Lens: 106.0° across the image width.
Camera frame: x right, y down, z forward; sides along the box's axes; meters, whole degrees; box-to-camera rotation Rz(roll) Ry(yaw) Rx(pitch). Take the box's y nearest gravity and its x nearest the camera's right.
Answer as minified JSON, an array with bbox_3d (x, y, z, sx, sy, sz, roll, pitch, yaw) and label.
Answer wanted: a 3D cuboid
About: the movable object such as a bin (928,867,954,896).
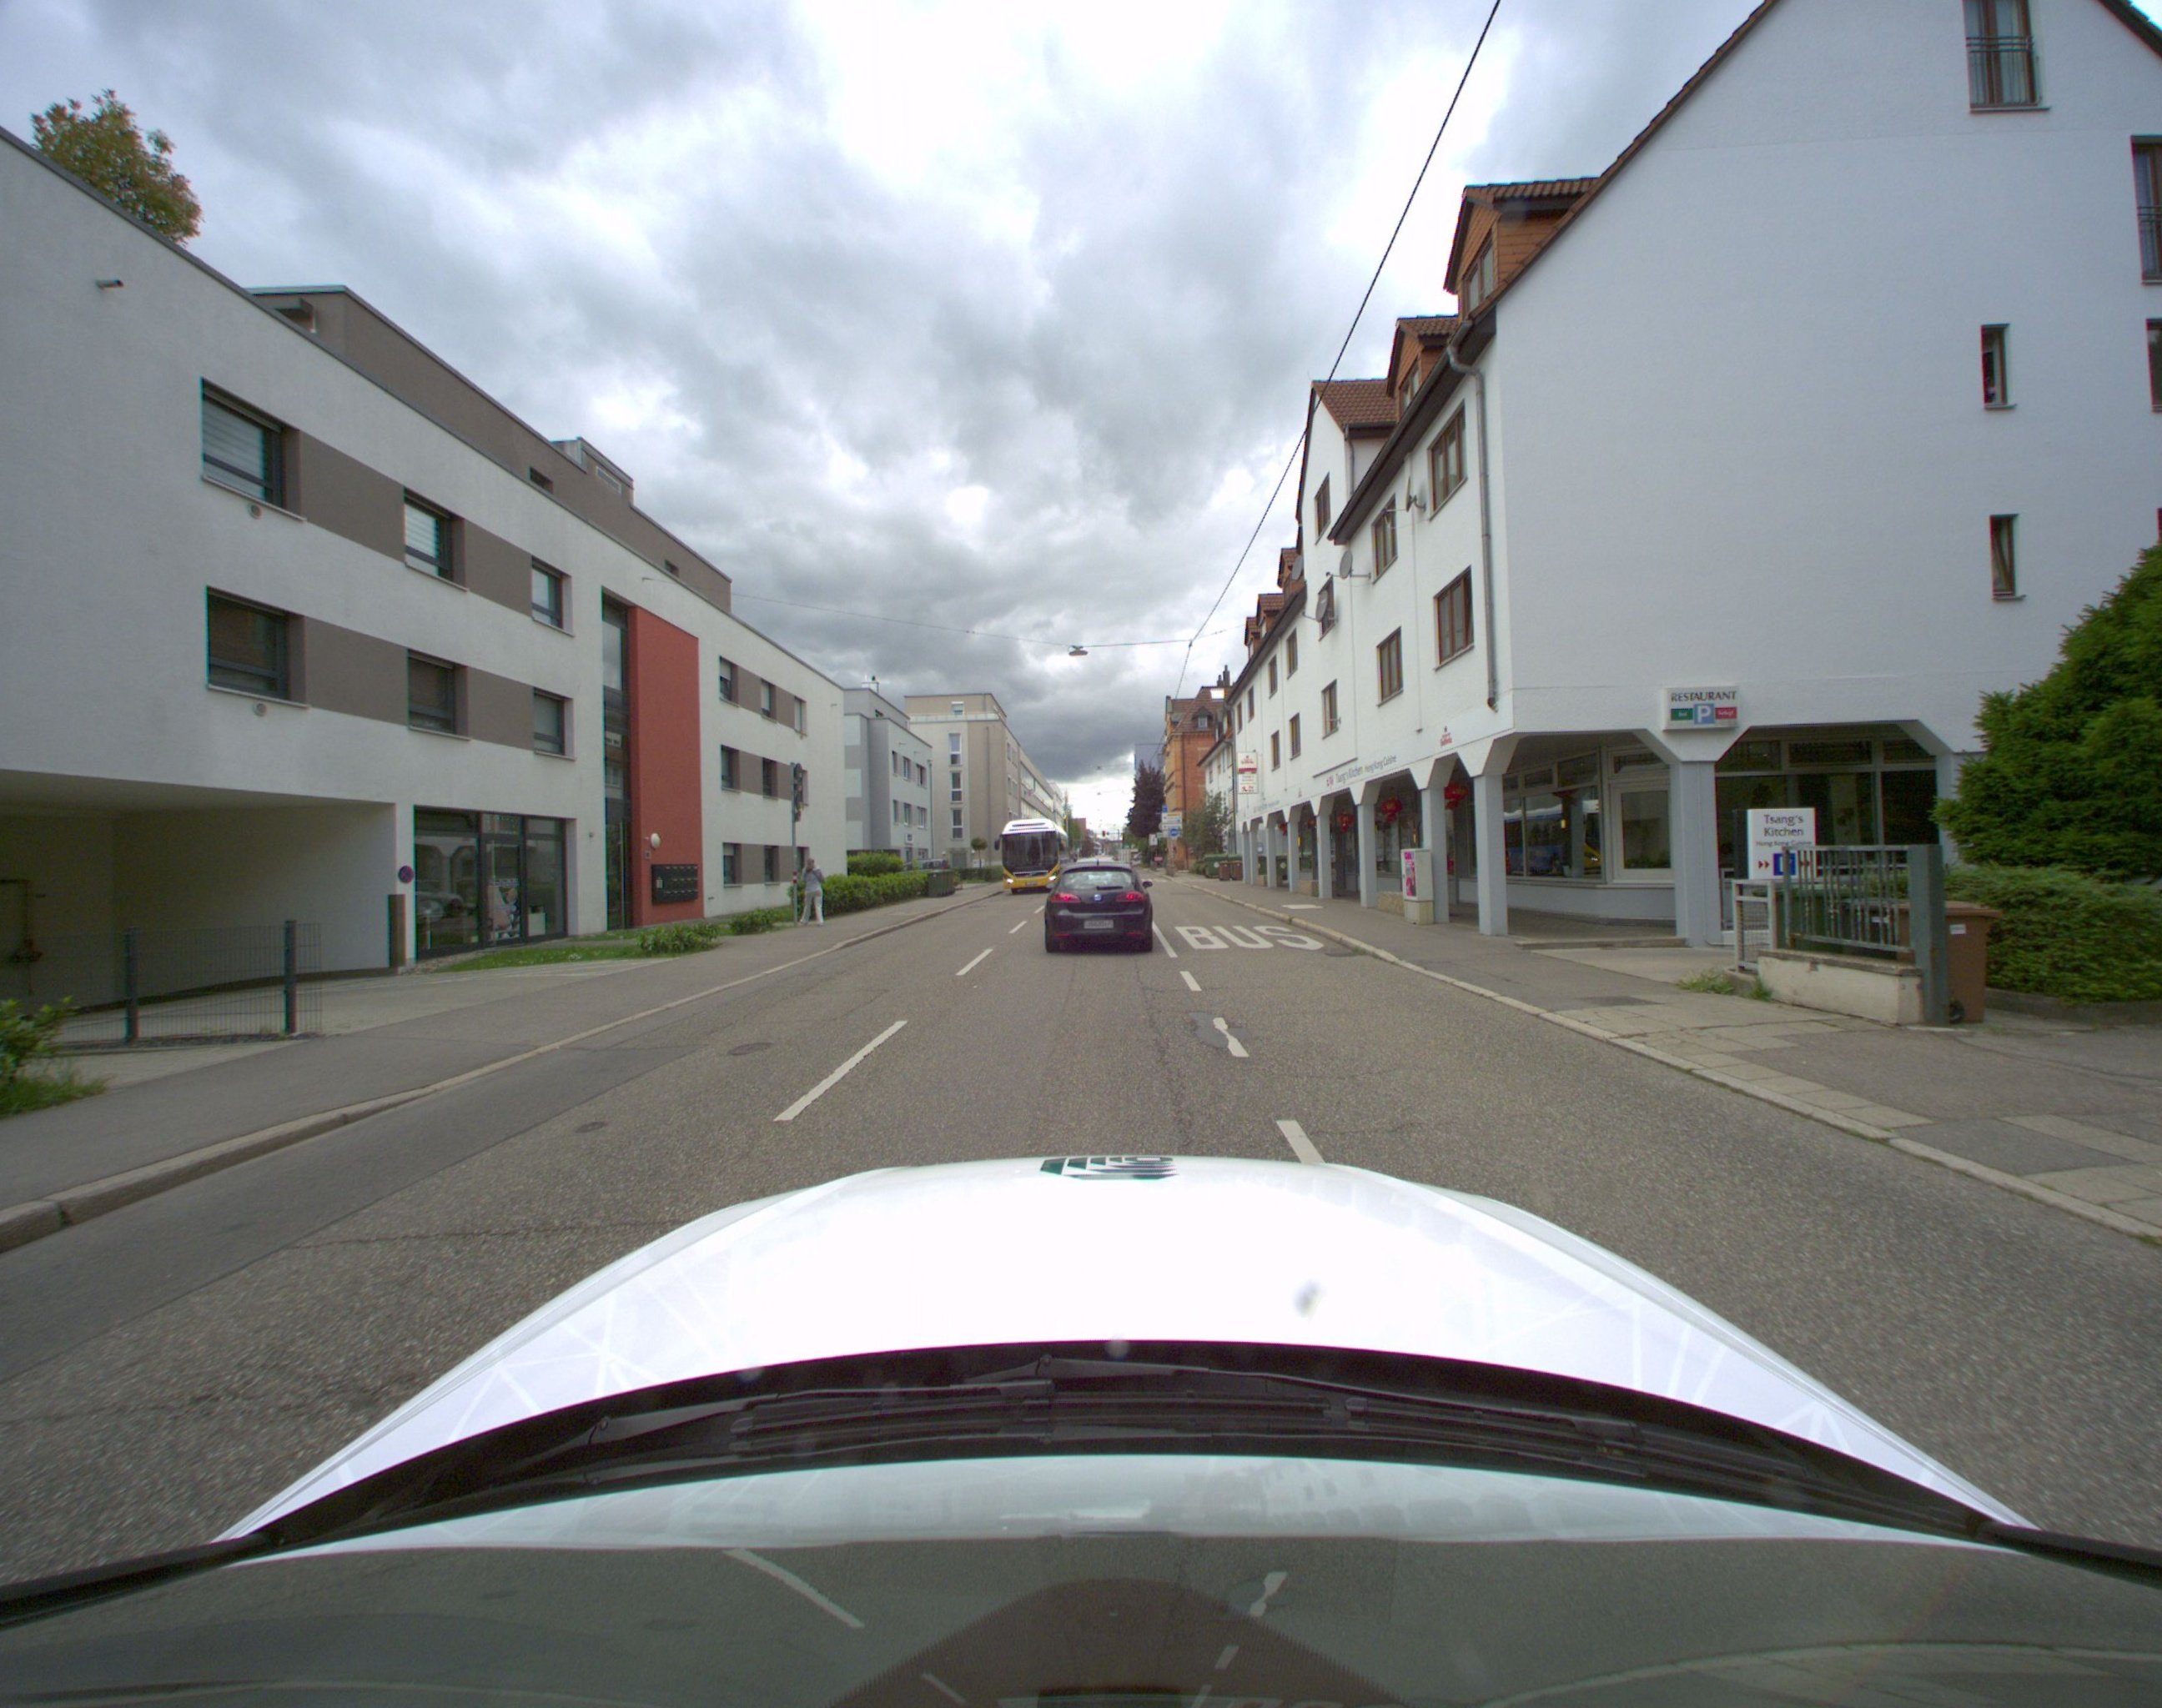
[{"bbox_3d":[-5.901,1.152,34.370,0.946,1.151,0.748,-2,0,-3],"label":"movable object such as a bin"}]

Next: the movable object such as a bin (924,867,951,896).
[{"bbox_3d":[-5.908,1.114,33.529,0.954,1.151,0.839,-2,0,-3],"label":"movable object such as a bin"}]

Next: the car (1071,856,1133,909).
[{"bbox_3d":[0.661,0.852,25.957,1.797,1.492,3.738,-2,0,1],"label":"car"}]

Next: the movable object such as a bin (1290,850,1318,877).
[{"bbox_3d":[12.143,0.529,44.399,1.203,1.417,1.261,-2,0,5],"label":"movable object such as a bin"}]

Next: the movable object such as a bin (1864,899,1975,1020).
[{"bbox_3d":[6.713,0.830,6.534,0.396,0.903,0.456,-2,0,2],"label":"movable object such as a bin"}]

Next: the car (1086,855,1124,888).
[{"bbox_3d":[1.219,0.865,41.750,1.797,1.553,3.738,-2,0,1],"label":"car"}]

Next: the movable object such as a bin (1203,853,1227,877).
[{"bbox_3d":[8.038,0.651,48.852,1.262,1.417,1.163,-2,0,2],"label":"movable object such as a bin"}]

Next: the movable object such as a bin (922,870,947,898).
[{"bbox_3d":[-5.870,1.192,32.665,0.892,1.089,0.792,-2,0,-3],"label":"movable object such as a bin"}]

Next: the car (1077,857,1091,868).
[{"bbox_3d":[0.515,1.303,122.540,1.872,1.451,4.215,-4,0,1],"label":"car"}]

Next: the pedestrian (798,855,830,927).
[{"bbox_3d":[-6.261,0.851,19.073,0.641,1.642,0.516,-2,0,-24],"label":"pedestrian"}]

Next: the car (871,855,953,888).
[{"bbox_3d":[-9.506,0.973,45.995,4.143,1.667,1.727,-2,-1,5],"label":"car"}]

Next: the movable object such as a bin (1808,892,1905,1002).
[{"bbox_3d":[6.786,0.801,7.141,0.396,0.903,0.456,-2,0,2],"label":"movable object such as a bin"}]

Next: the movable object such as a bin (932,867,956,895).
[{"bbox_3d":[-5.901,1.158,35.073,0.938,1.151,0.612,-2,0,-3],"label":"movable object such as a bin"}]

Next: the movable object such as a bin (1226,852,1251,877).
[{"bbox_3d":[9.376,0.593,48.536,1.262,1.435,1.308,-2,0,2],"label":"movable object such as a bin"}]

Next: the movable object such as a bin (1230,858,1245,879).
[{"bbox_3d":[8.608,0.788,44.888,0.694,1.079,0.973,-2,0,6],"label":"movable object such as a bin"}]

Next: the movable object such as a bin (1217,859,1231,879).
[{"bbox_3d":[7.882,0.806,44.931,0.680,1.067,0.973,-2,0,6],"label":"movable object such as a bin"}]

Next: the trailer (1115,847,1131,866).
[{"bbox_3d":[5.814,0.334,113.030,1.986,2.607,5.350,-2,0,1],"label":"trailer"}]

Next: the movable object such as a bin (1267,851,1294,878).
[{"bbox_3d":[10.894,0.563,44.470,1.203,1.417,1.261,-2,0,5],"label":"movable object such as a bin"}]

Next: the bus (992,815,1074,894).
[{"bbox_3d":[-2.136,0.012,41.360,2.932,3.274,12.012,-3,0,2],"label":"bus"}]

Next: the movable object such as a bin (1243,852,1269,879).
[{"bbox_3d":[9.537,0.603,44.518,1.203,1.417,1.261,-2,0,5],"label":"movable object such as a bin"}]

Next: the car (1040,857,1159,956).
[{"bbox_3d":[0.342,0.801,14.252,1.759,1.433,3.830,-2,0,2],"label":"car"}]

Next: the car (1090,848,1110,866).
[{"bbox_3d":[1.747,0.251,74.850,1.797,1.553,3.738,-2,0,1],"label":"car"}]
